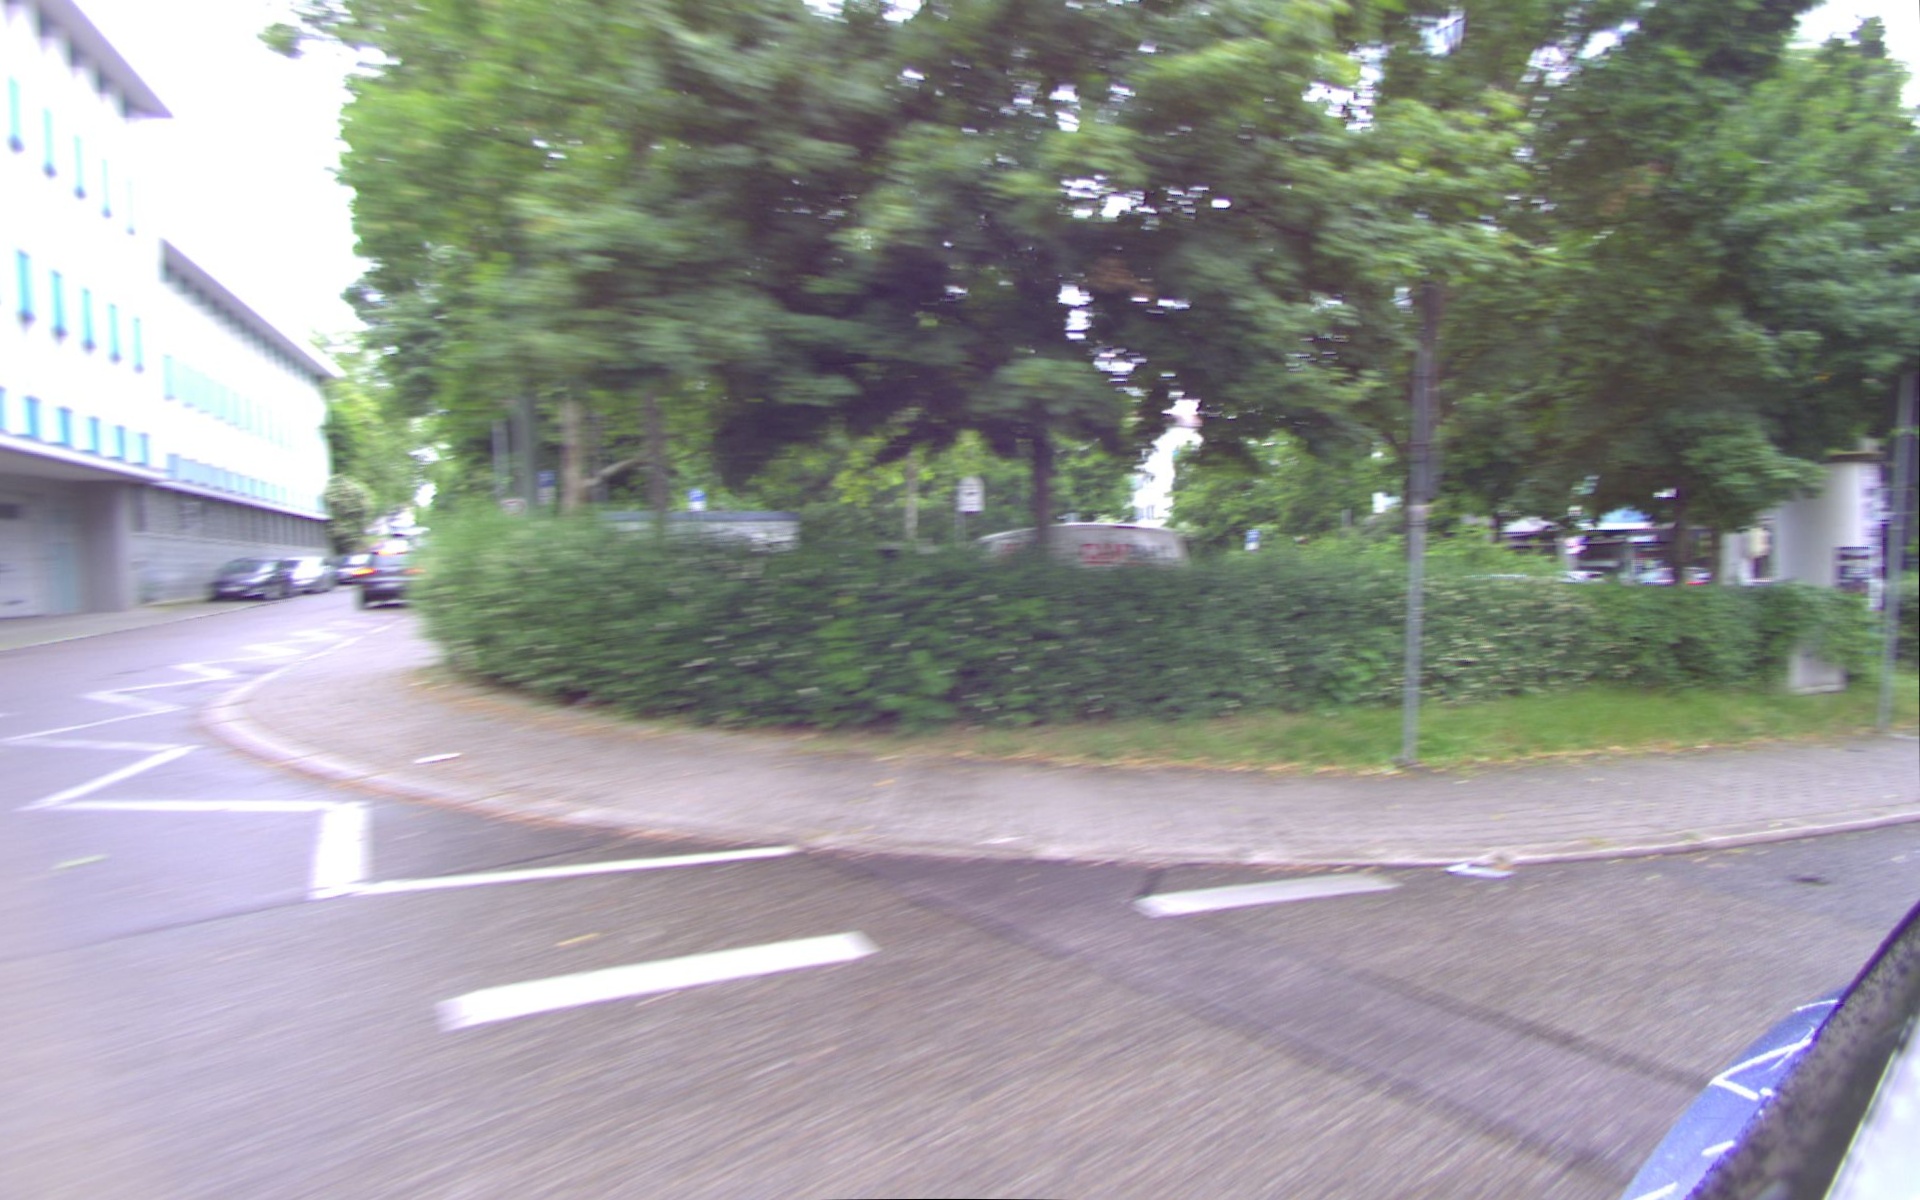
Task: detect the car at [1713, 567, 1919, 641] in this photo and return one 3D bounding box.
[{"bbox_3d":[22.873,0.017,26.594,1.951,1.598,4.591,-5,4,-24],"label":"car"}]

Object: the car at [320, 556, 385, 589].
[{"bbox_3d":[-30.038,-1.411,50.144,1.869,1.520,4.010,-2,3,-18],"label":"car"}]

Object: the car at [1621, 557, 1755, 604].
[{"bbox_3d":[29.521,-0.840,41.175,1.617,1.685,4.197,-3,4,-22],"label":"car"}]

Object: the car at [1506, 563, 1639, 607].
[{"bbox_3d":[25.578,-0.677,42.436,1.949,1.723,4.582,-1,2,-18],"label":"car"}]

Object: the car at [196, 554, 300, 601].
[{"bbox_3d":[-24.807,-0.843,35.432,1.869,1.520,4.010,-2,3,-18],"label":"car"}]

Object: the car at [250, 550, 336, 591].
[{"bbox_3d":[-26.669,-1.219,40.607,1.869,1.520,4.010,-2,3,-18],"label":"car"}]

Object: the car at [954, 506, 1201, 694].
[{"bbox_3d":[1.282,-0.026,12.966,1.603,1.985,4.221,1,1,-16],"label":"car"}]

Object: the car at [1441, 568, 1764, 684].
[{"bbox_3d":[10.277,0.332,16.569,1.603,1.642,4.219,1,1,-26],"label":"car"}]

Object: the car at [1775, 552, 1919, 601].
[{"bbox_3d":[35.097,-0.976,39.991,1.617,1.685,4.197,-3,4,-22],"label":"car"}]

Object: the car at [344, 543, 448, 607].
[{"bbox_3d":[-16.141,-0.760,29.165,1.869,1.671,4.010,-2,3,-18],"label":"car"}]
